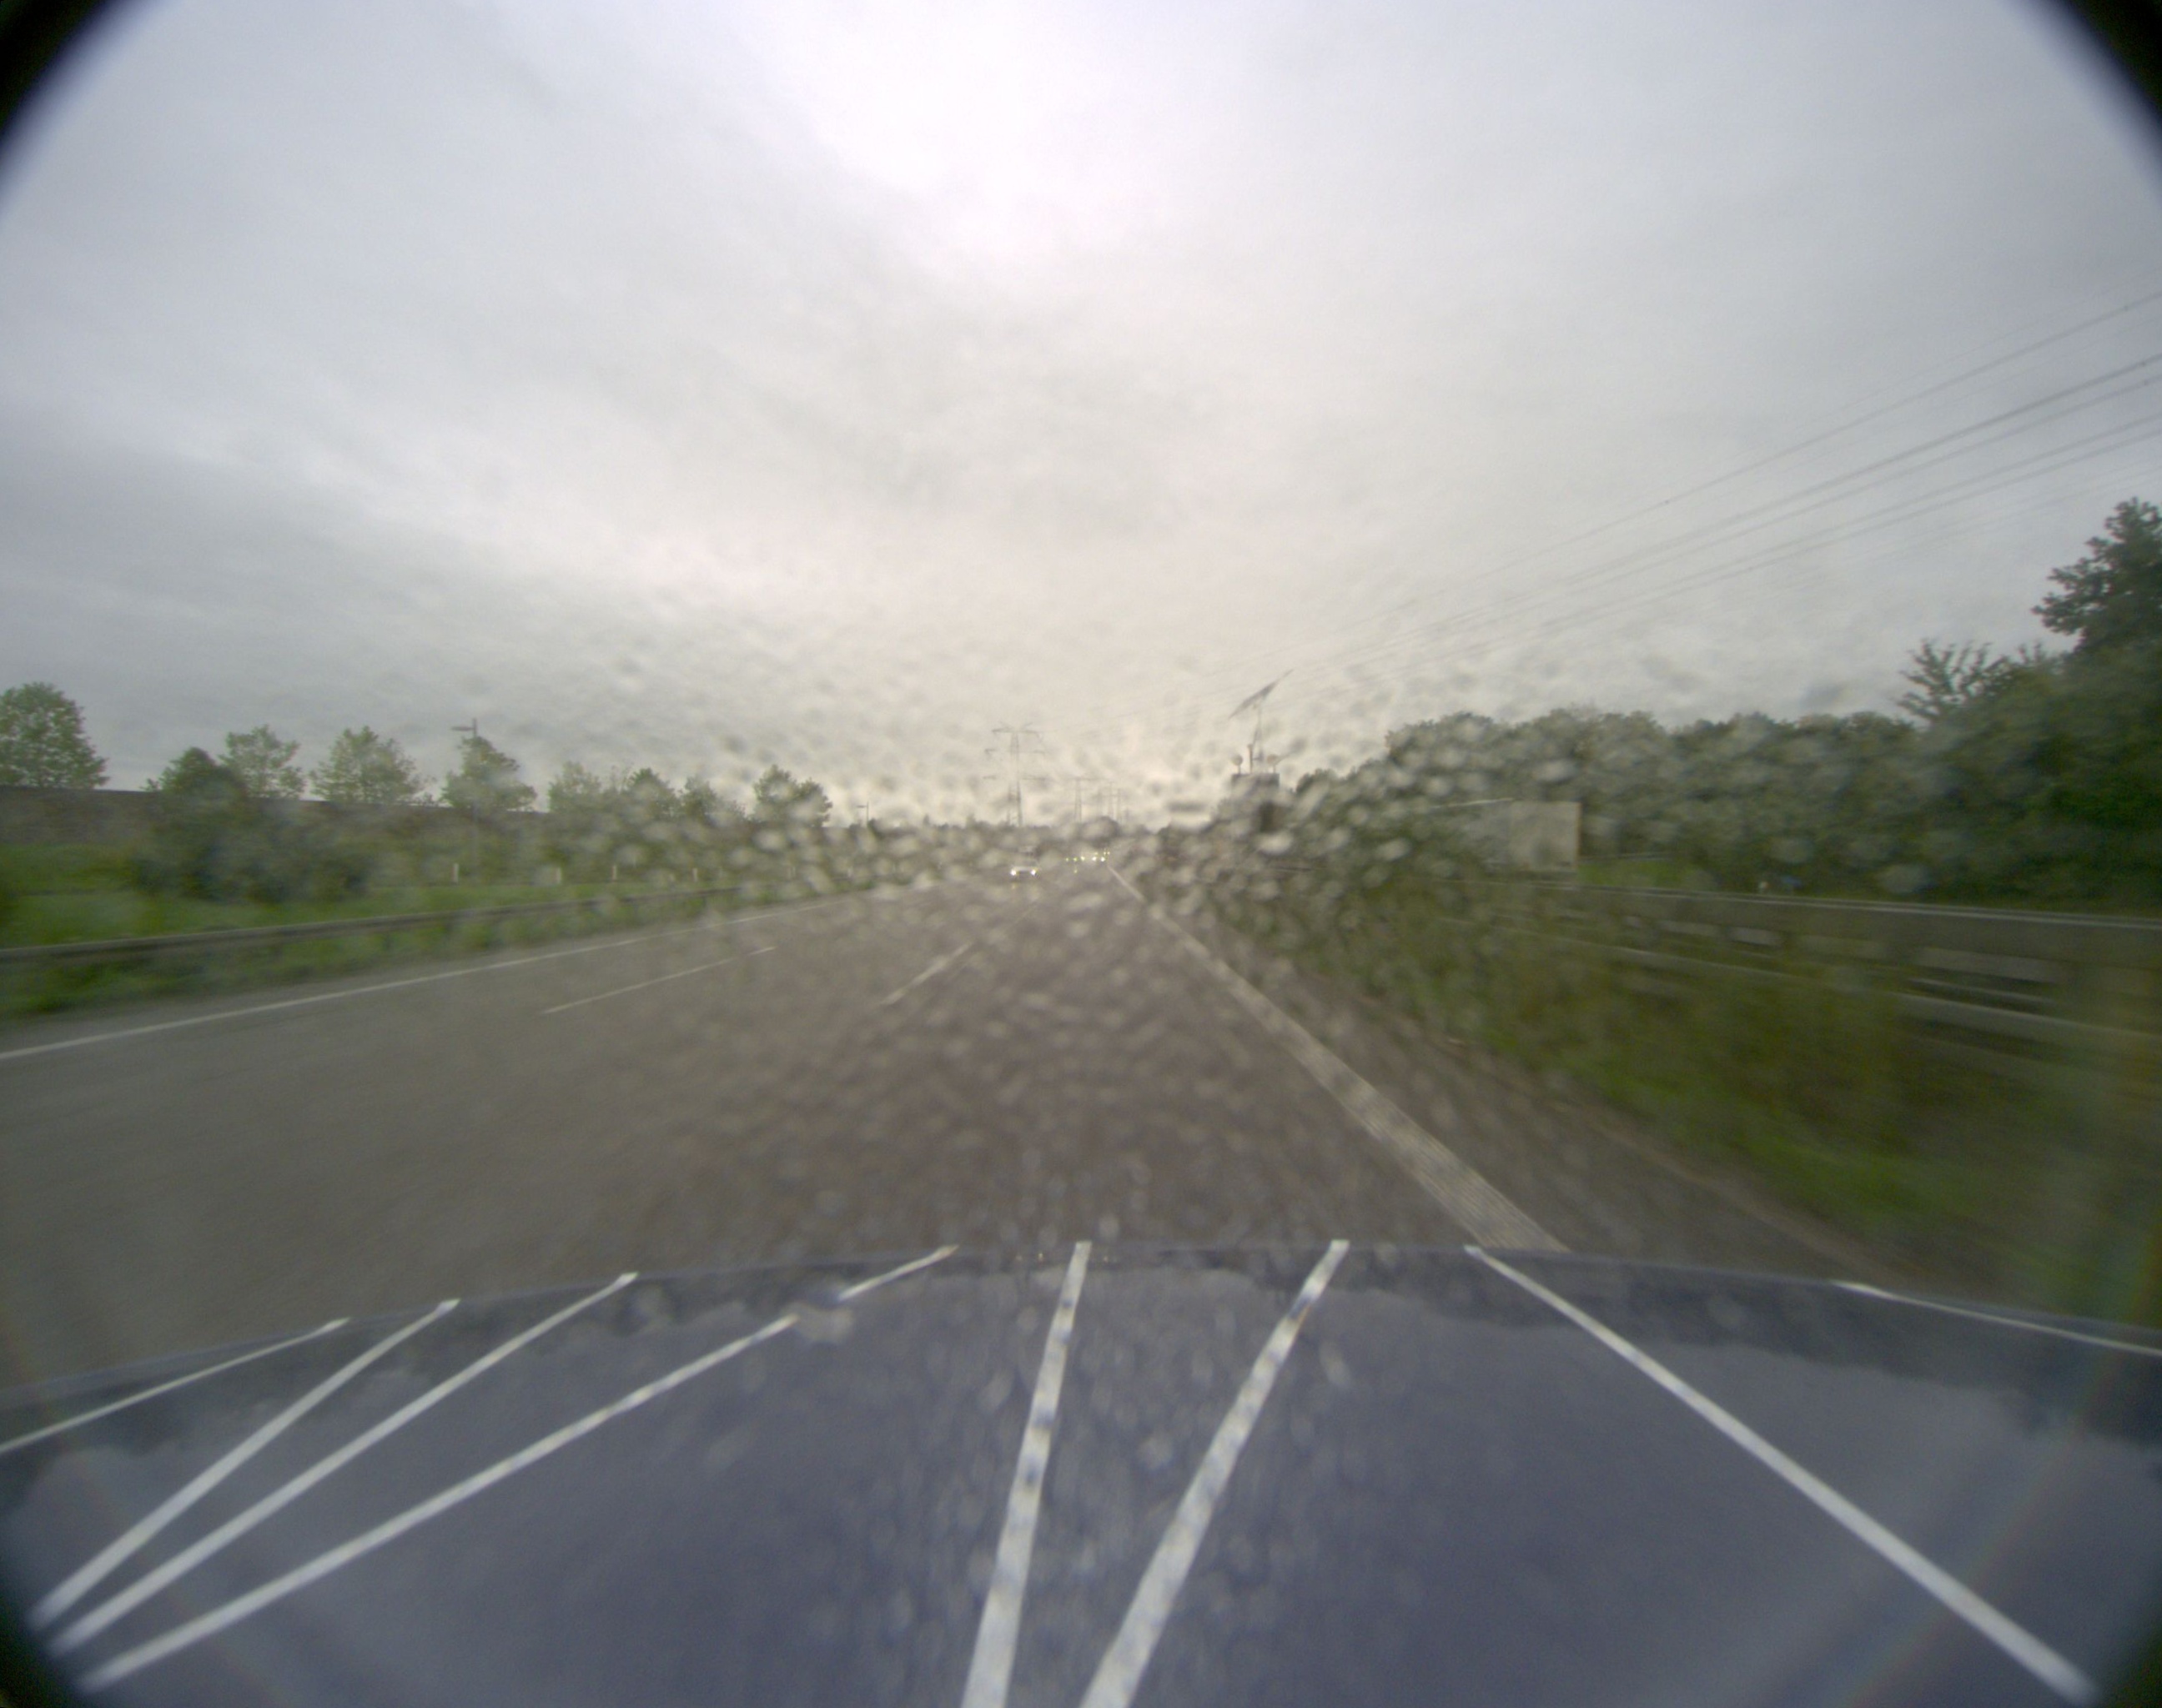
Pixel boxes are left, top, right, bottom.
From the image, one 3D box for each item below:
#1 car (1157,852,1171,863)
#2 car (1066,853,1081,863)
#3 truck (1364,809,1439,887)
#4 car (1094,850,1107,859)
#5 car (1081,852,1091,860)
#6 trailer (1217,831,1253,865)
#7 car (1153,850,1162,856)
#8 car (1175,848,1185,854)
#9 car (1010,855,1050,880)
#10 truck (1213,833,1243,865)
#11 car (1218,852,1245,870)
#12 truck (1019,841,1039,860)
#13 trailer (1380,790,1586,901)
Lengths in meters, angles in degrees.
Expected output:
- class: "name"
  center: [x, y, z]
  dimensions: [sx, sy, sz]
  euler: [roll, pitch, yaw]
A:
- class: "car"
  center: [11.996, 0.472, 110.076]
  dimensions: [1.668, 1.533, 4.000]
  euler: [0, 0, 1]
- class: "car"
  center: [-1.212, 0.581, 123.117]
  dimensions: [1.998, 1.419, 4.000]
  euler: [-2, 1, 4]
- class: "truck"
  center: [18.166, -0.339, 43.342]
  dimensions: [2.650, 4.212, 4.000]
  euler: [0, 0, 1]
- class: "car"
  center: [3.440, 0.132, 132.793]
  dimensions: [1.998, 1.419, 4.000]
  euler: [-2, 1, 4]
- class: "car"
  center: [1.021, 0.422, 162.536]
  dimensions: [1.856, 1.419, 4.000]
  euler: [-2, 1, 4]
- class: "trailer"
  center: [19.389, -0.706, 96.334]
  dimensions: [2.769, 4.032, 9.200]
  euler: [1, 0, 1]
- class: "car"
  center: [18.931, -0.257, 187.865]
  dimensions: [1.879, 1.485, 4.514]
  euler: [1, 1, 1]
- class: "car"
  center: [25.136, -0.696, 192.696]
  dimensions: [1.972, 1.534, 4.000]
  euler: [0, 1, 2]
- class: "car"
  center: [-3.220, 0.849, 49.111]
  dimensions: [1.998, 1.419, 4.000]
  euler: [-2, 1, 4]
- class: "truck"
  center: [19.453, -0.697, 100.996]
  dimensions: [2.769, 4.032, 6.156]
  euler: [1, 0, 1]
- class: "car"
  center: [14.310, 0.675, 72.471]
  dimensions: [1.829, 1.628, 4.472]
  euler: [0, 0, 1]
- class: "truck"
  center: [-9.352, -0.727, 137.898]
  dimensions: [2.648, 3.325, 6.931]
  euler: [-2, 1, 4]
- class: "trailer"
  center: [18.035, -0.328, 35.899]
  dimensions: [2.650, 4.212, 13.911]
  euler: [0, 0, 1]
